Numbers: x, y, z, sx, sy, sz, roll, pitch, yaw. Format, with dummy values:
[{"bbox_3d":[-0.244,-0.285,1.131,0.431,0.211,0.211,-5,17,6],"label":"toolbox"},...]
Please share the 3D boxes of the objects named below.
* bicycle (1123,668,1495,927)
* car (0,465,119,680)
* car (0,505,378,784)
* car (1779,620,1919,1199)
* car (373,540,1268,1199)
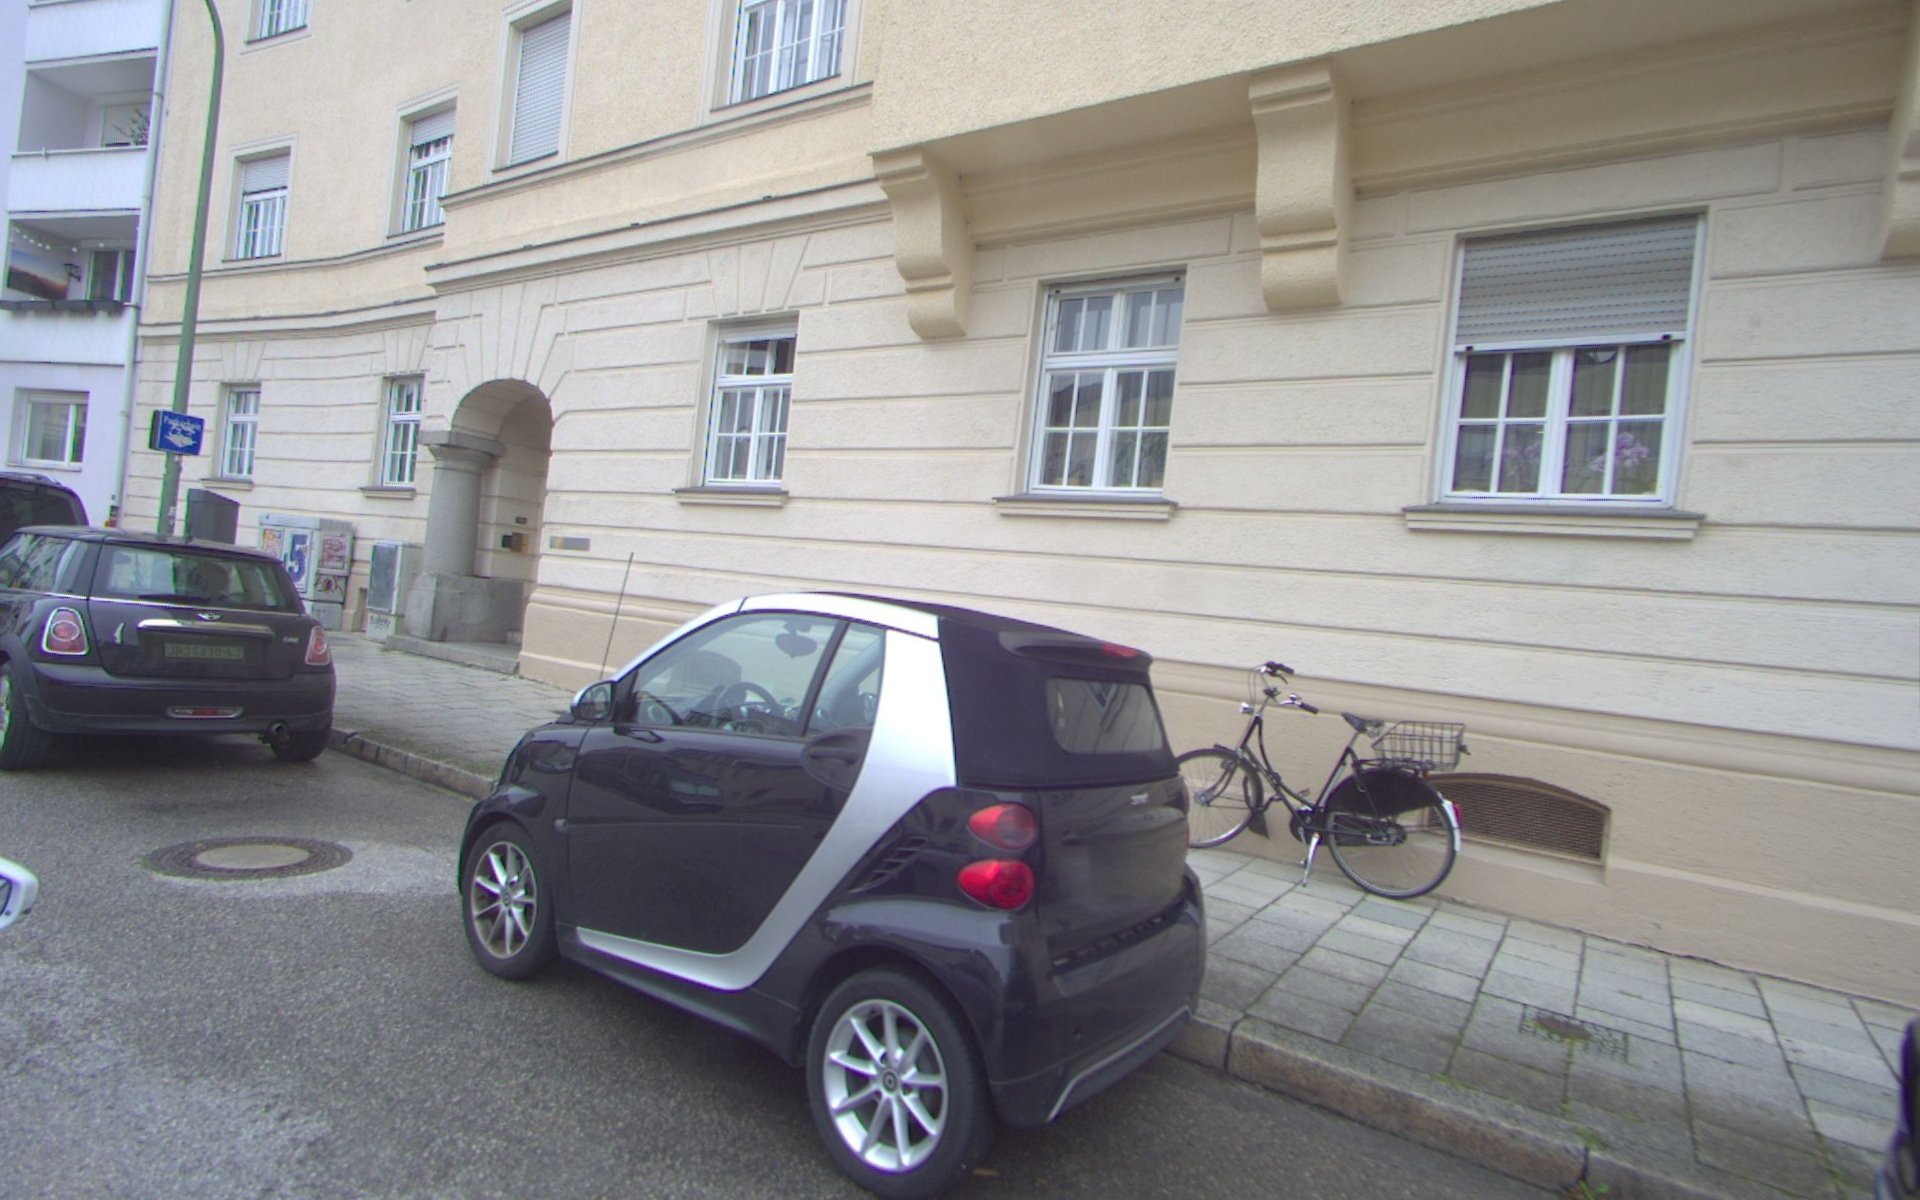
[{"bbox_3d":[2.024,1.083,6.001,1.922,1.097,0.579,6,3,34],"label":"bicycle"},{"bbox_3d":[-10.196,-0.453,9.470,4.200,1.827,1.783,6,-2,26],"label":"car"},{"bbox_3d":[-5.984,0.186,7.106,3.770,1.464,1.710,6,-2,35],"label":"car"},{"bbox_3d":[3.727,1.094,0.581,4.788,1.736,1.871,6,-2,35],"label":"car"},{"bbox_3d":[-0.650,0.723,3.875,3.062,1.541,1.536,6,-2,36],"label":"car"}]
